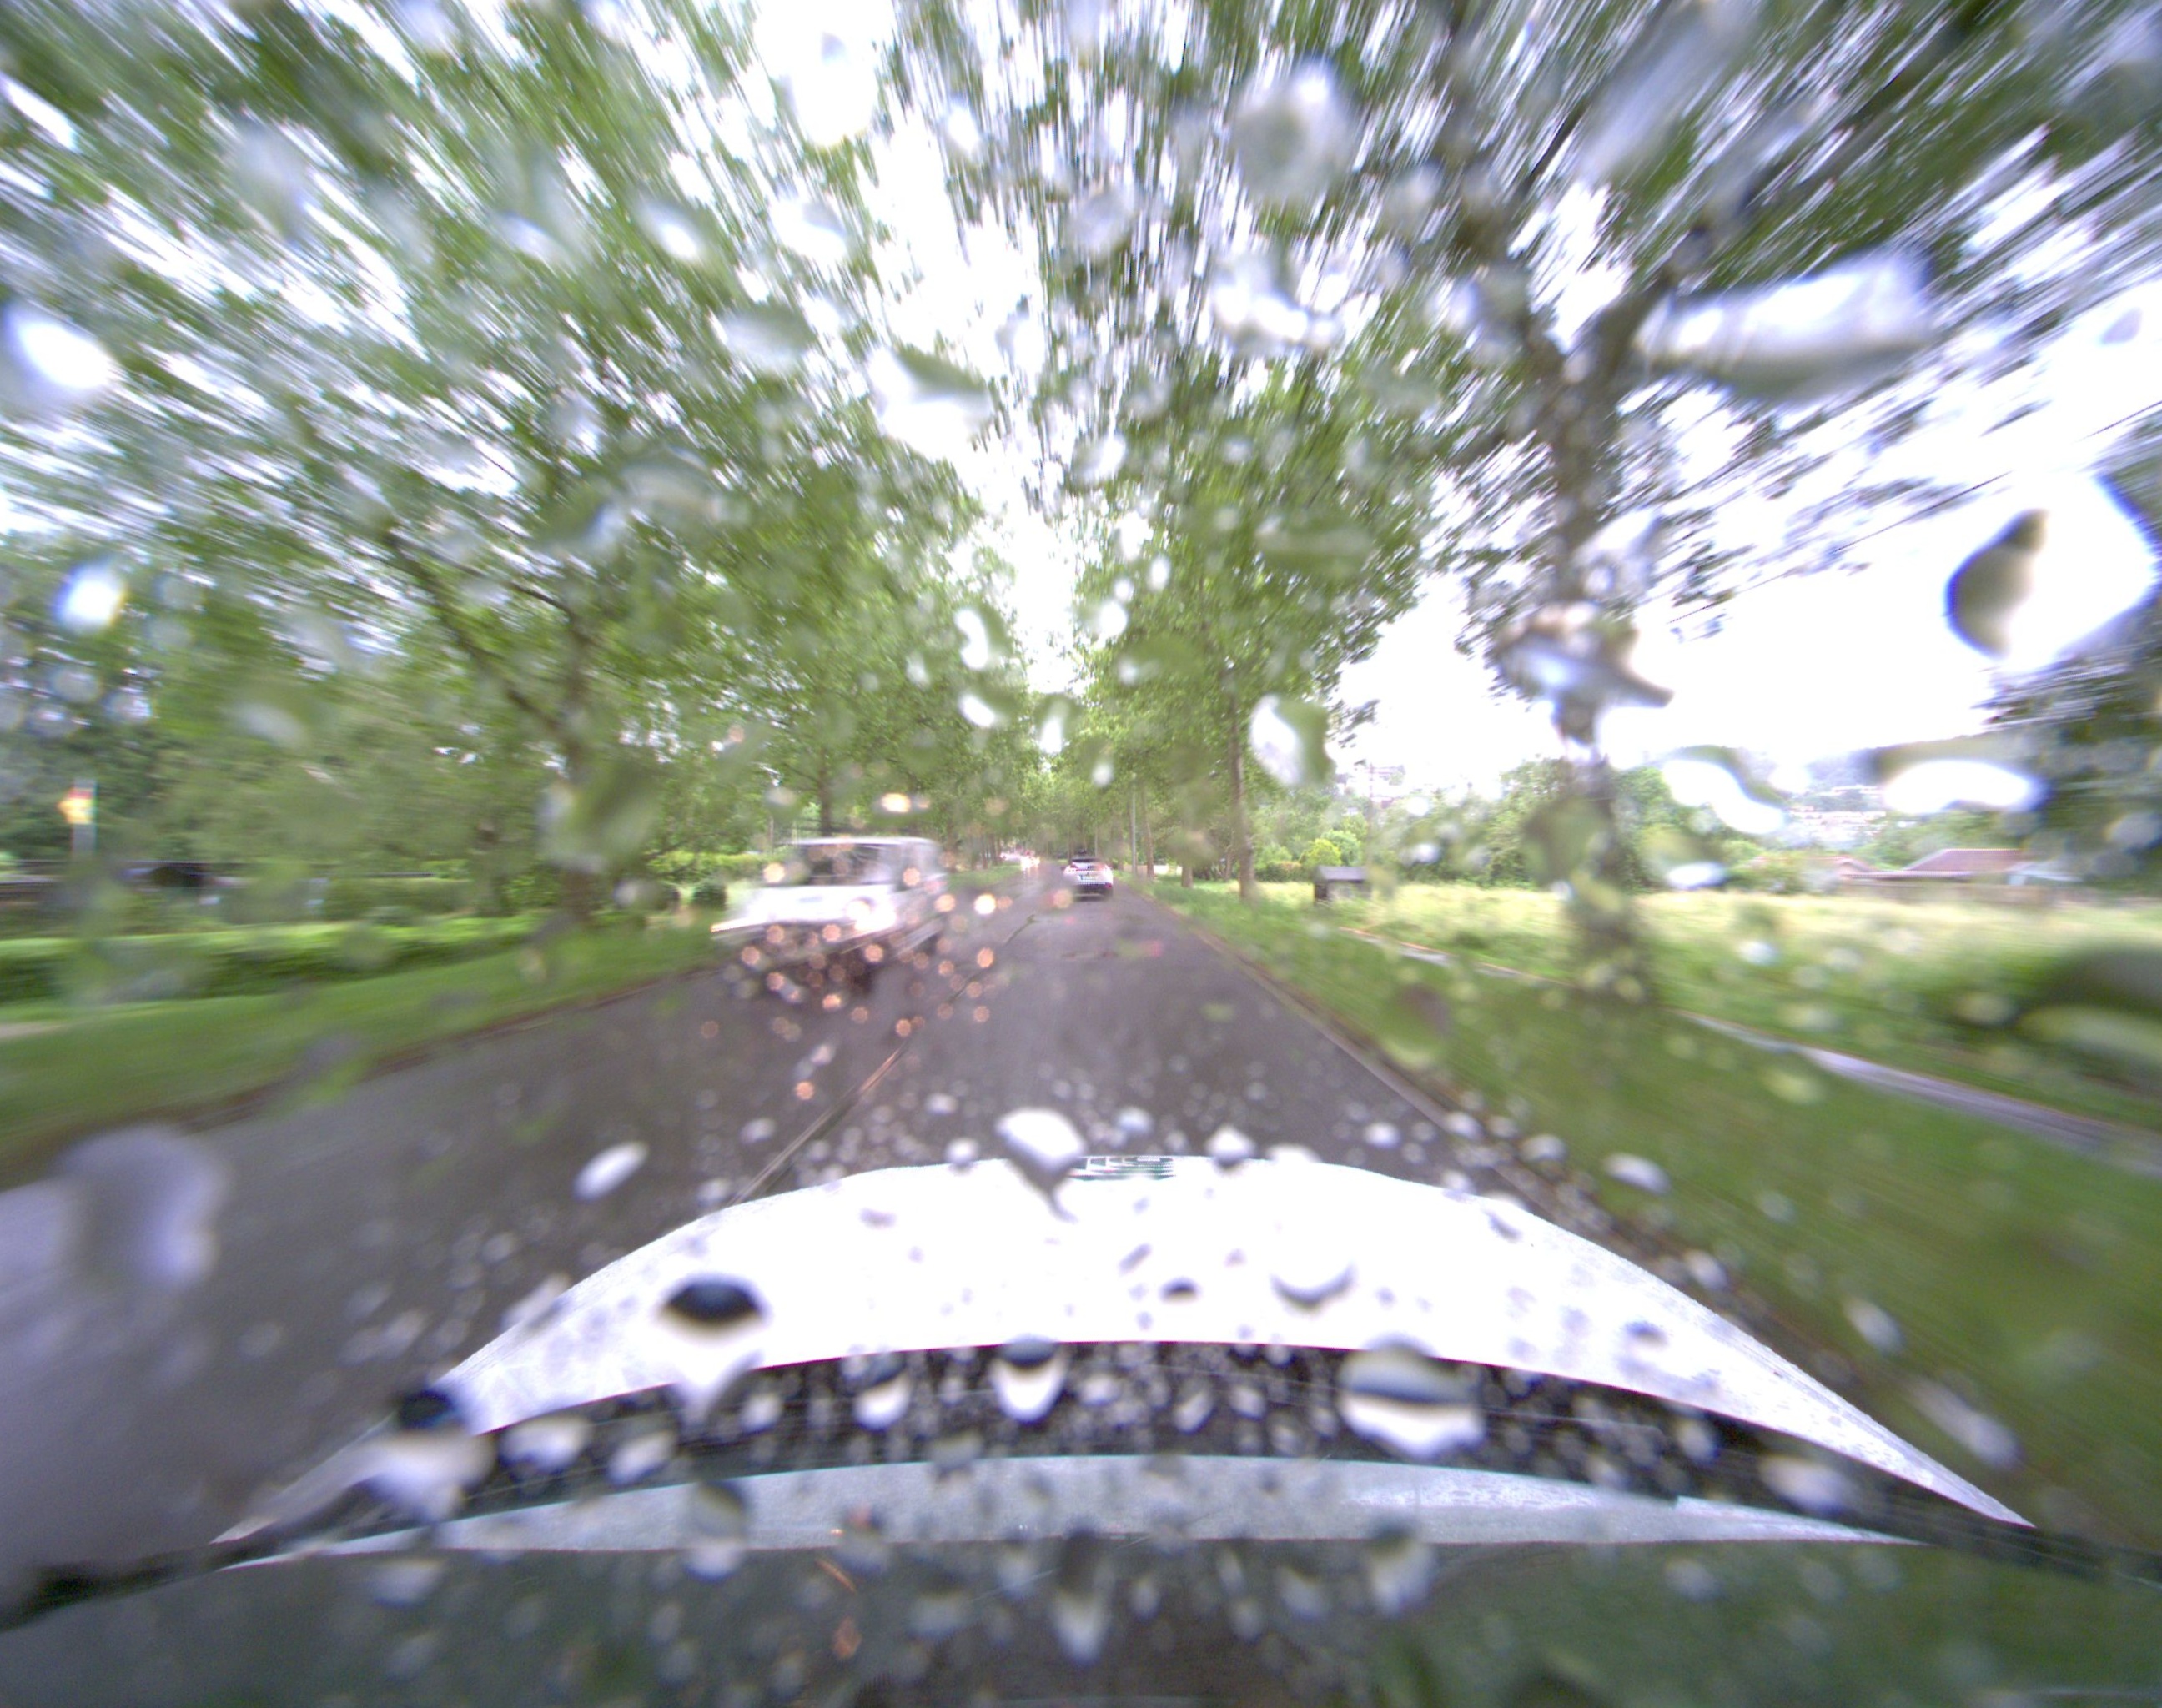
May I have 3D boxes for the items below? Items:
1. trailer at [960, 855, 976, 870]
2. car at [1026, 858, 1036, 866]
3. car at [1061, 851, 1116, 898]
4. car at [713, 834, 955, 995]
[{"bbox_3d":[-19.634,1.488,141.207,2.481,2.567,5.323,0,0,-5],"label":"trailer"},{"bbox_3d":[-8.714,1.354,142.411,1.728,1.423,4.219,-1,0,-4],"label":"car"},{"bbox_3d":[0.203,0.705,29.770,1.789,1.578,3.840,0,0,-3],"label":"car"},{"bbox_3d":[-3.177,0.685,11.721,1.856,1.750,5.015,-2,0,0],"label":"car"}]
